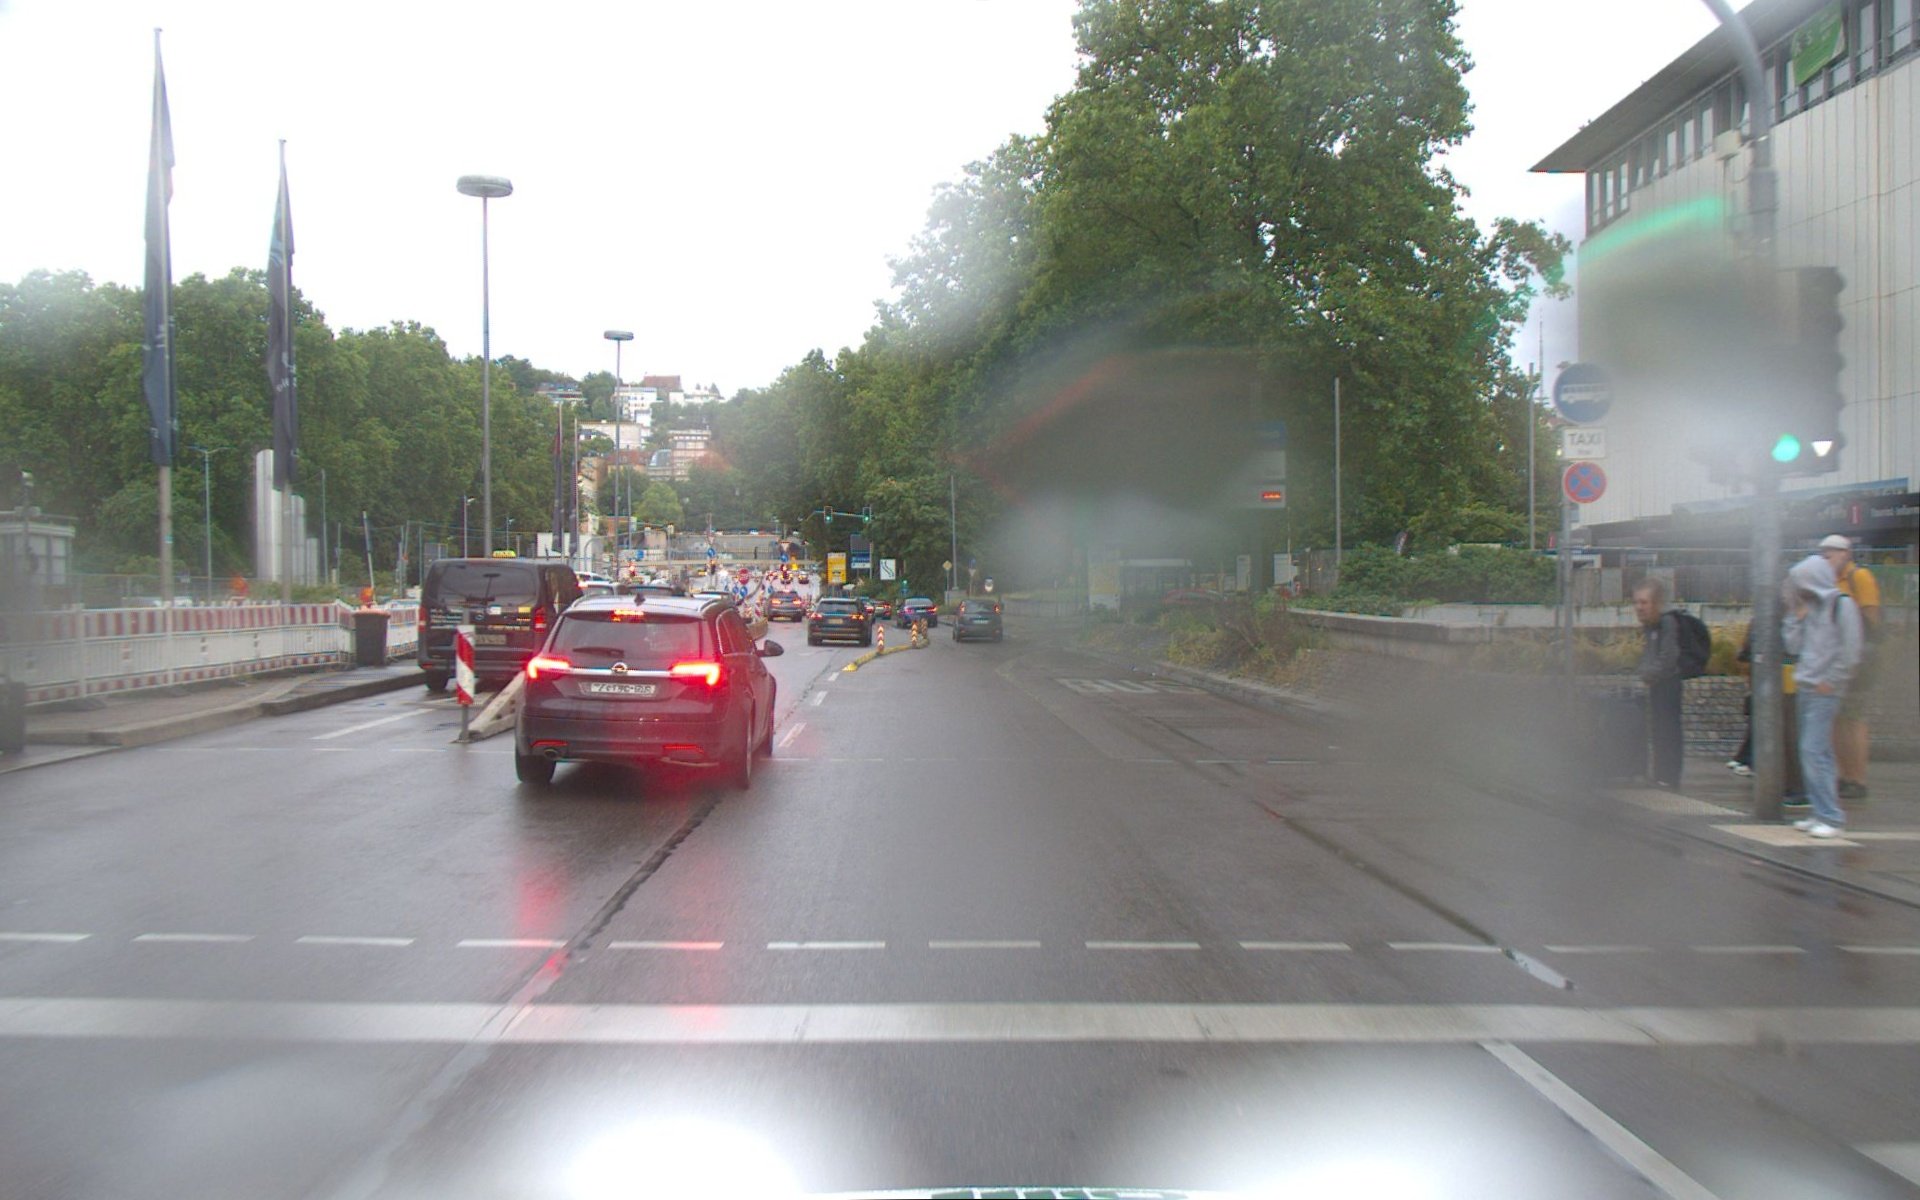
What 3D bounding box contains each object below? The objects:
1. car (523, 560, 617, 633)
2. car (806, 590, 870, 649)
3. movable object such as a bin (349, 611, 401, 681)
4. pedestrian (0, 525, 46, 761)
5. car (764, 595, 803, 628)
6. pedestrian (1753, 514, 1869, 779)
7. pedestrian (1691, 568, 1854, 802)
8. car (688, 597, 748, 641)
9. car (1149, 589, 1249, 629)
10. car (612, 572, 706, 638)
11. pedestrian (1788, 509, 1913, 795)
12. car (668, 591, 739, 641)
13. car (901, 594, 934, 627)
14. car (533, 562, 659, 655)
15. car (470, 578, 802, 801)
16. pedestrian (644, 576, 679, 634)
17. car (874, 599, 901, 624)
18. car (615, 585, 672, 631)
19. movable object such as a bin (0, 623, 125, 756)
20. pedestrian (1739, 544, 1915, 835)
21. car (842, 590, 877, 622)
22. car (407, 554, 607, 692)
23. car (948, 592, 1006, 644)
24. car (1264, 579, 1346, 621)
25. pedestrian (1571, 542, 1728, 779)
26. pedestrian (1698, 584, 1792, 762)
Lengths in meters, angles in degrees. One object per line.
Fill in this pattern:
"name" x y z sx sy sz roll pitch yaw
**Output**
"car" -11.681 -0.078 49.894 1.955 2.049 5.363 1 0 -5
"car" -3.721 0.578 51.128 1.793 1.715 4.132 0 0 -2
"movable object such as a bin" -10.197 0.799 28.848 0.657 1.182 0.766 2 -1 -7
"pedestrian" -8.225 0.351 13.701 0.983 1.919 0.683 0 0 22
"car" -10.357 0.696 96.711 1.957 1.859 3.990 1 -1 -10
"pedestrian" 7.205 0.384 14.032 0.693 2.183 0.722 -1 0 13
"pedestrian" 6.172 0.629 12.601 0.857 1.720 0.758 0 0 -1
"car" -9.074 0.701 62.193 1.955 1.557 4.148 -2 0 -5
"car" 9.402 0.357 65.114 3.550 1.532 1.726 1 -1 39
"car" -7.444 0.139 41.234 1.788 1.537 4.486 1 0 -4
"pedestrian" 7.005 0.398 13.026 0.545 2.183 0.665 0 0 -15
"car" -8.735 0.542 56.574 1.954 1.595 4.871 -2 0 -4
"car" -2.133 0.517 83.642 1.640 1.609 3.239 1 -1 -1
"car" -7.297 0.172 33.577 1.788 1.726 4.770 1 0 -4
"car" -2.467 0.622 13.858 1.839 1.534 4.851 0 0 0
"pedestrian" -10.519 0.171 58.352 1.002 2.049 0.837 0 0 9
"car" -4.883 0.754 110.838 1.602 1.653 3.791 1 -1 -5
"car" -11.922 0.290 62.562 1.681 1.658 4.051 1 0 -5
"movable object such as a bin" -7.932 0.758 14.373 0.983 1.095 0.749 0 0 22
"pedestrian" 5.691 0.565 10.881 0.733 1.836 0.707 0 0 -15
"car" -5.638 0.355 93.046 1.865 1.747 3.998 1 -1 -2
"car" -6.770 0.339 25.308 1.954 1.877 5.058 1 0 -4
"car" 0.575 0.625 57.738 1.814 1.747 3.998 1 -1 -2
"car" 17.934 0.014 85.896 2.096 2.049 4.619 0 -1 43
"pedestrian" 5.681 0.479 13.662 0.773 1.871 0.946 0 0 -15
"pedestrian" 7.163 0.654 15.114 0.642 1.582 0.634 1 -1 13
